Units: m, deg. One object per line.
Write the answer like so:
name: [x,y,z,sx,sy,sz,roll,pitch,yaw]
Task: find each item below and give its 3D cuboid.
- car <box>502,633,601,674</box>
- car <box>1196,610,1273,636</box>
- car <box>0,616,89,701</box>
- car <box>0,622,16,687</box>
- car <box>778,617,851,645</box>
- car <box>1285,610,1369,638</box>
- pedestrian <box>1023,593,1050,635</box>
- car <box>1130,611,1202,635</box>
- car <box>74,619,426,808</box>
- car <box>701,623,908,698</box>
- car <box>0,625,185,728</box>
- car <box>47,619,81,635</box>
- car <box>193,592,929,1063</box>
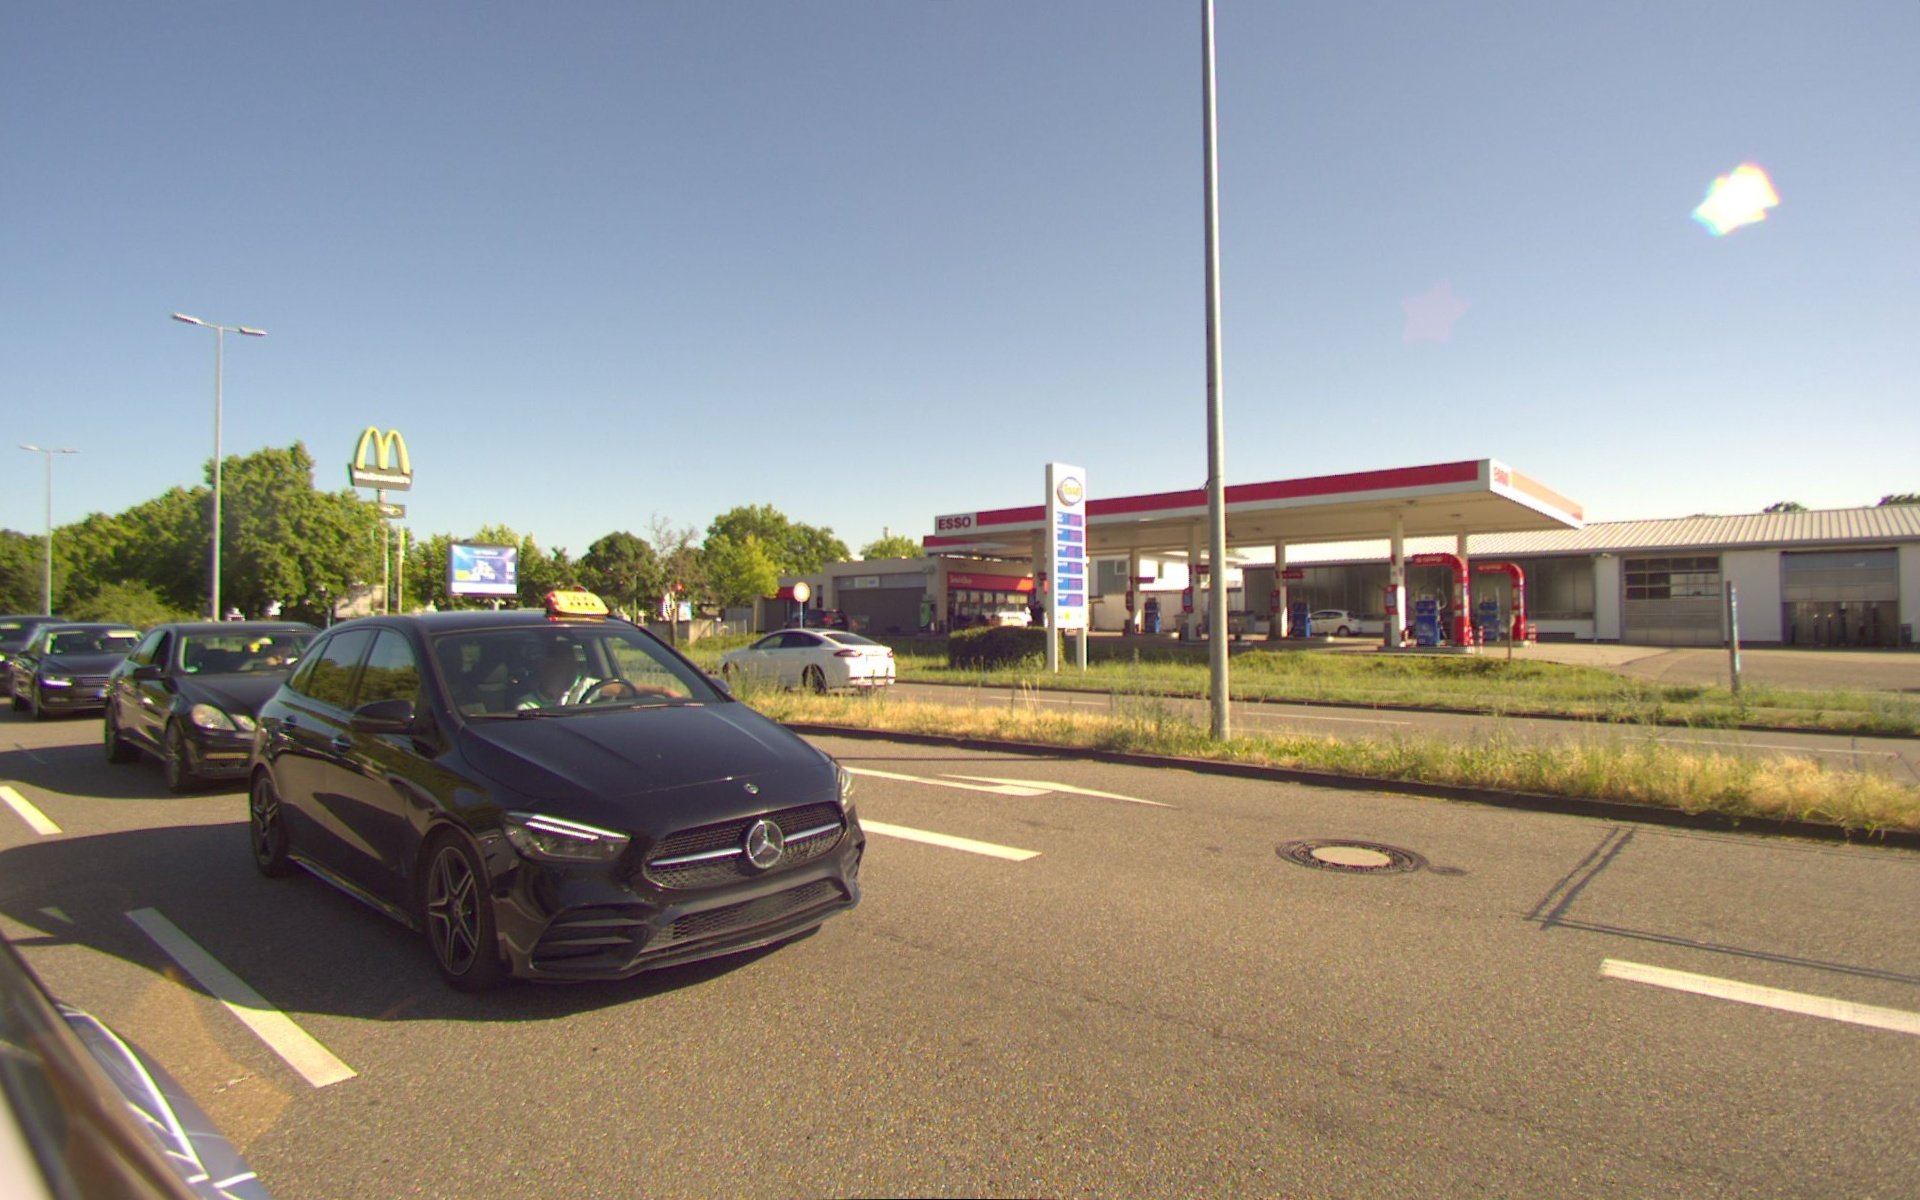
car: [-15.342,1.998,37.924,3.975,1.420,1.741,-1,-4,40]
car: [15.843,1.355,58.580,3.975,1.420,1.661,-1,-4,40]
car: [-19.955,1.195,21.462,3.876,1.629,1.653,-2,-1,40]
car: [-25.217,1.377,25.540,3.774,1.567,1.615,-1,-1,40]
car: [-7.900,1.689,54.703,3.975,1.420,1.661,-1,-4,40]
car: [19.845,1.303,54.838,3.975,1.420,1.661,-1,-4,40]
pedestrian: [3.331,0.601,44.014,0.904,1.763,0.780,-1,0,42]
car: [12.445,1.399,61.379,3.975,1.420,1.661,-1,-4,40]
car: [-7.255,0.936,10.161,4.400,1.449,1.845,-1,0,40]
car: [-3.624,1.341,23.039,4.872,1.502,1.742,-1,-4,38]
car: [-14.445,1.161,16.693,4.284,1.438,1.775,-1,0,40]
car: [-83.540,2.525,94.318,3.975,1.420,1.741,-1,-4,40]
car: [-2.378,0.742,5.334,4.400,1.502,1.741,-1,0,40]
